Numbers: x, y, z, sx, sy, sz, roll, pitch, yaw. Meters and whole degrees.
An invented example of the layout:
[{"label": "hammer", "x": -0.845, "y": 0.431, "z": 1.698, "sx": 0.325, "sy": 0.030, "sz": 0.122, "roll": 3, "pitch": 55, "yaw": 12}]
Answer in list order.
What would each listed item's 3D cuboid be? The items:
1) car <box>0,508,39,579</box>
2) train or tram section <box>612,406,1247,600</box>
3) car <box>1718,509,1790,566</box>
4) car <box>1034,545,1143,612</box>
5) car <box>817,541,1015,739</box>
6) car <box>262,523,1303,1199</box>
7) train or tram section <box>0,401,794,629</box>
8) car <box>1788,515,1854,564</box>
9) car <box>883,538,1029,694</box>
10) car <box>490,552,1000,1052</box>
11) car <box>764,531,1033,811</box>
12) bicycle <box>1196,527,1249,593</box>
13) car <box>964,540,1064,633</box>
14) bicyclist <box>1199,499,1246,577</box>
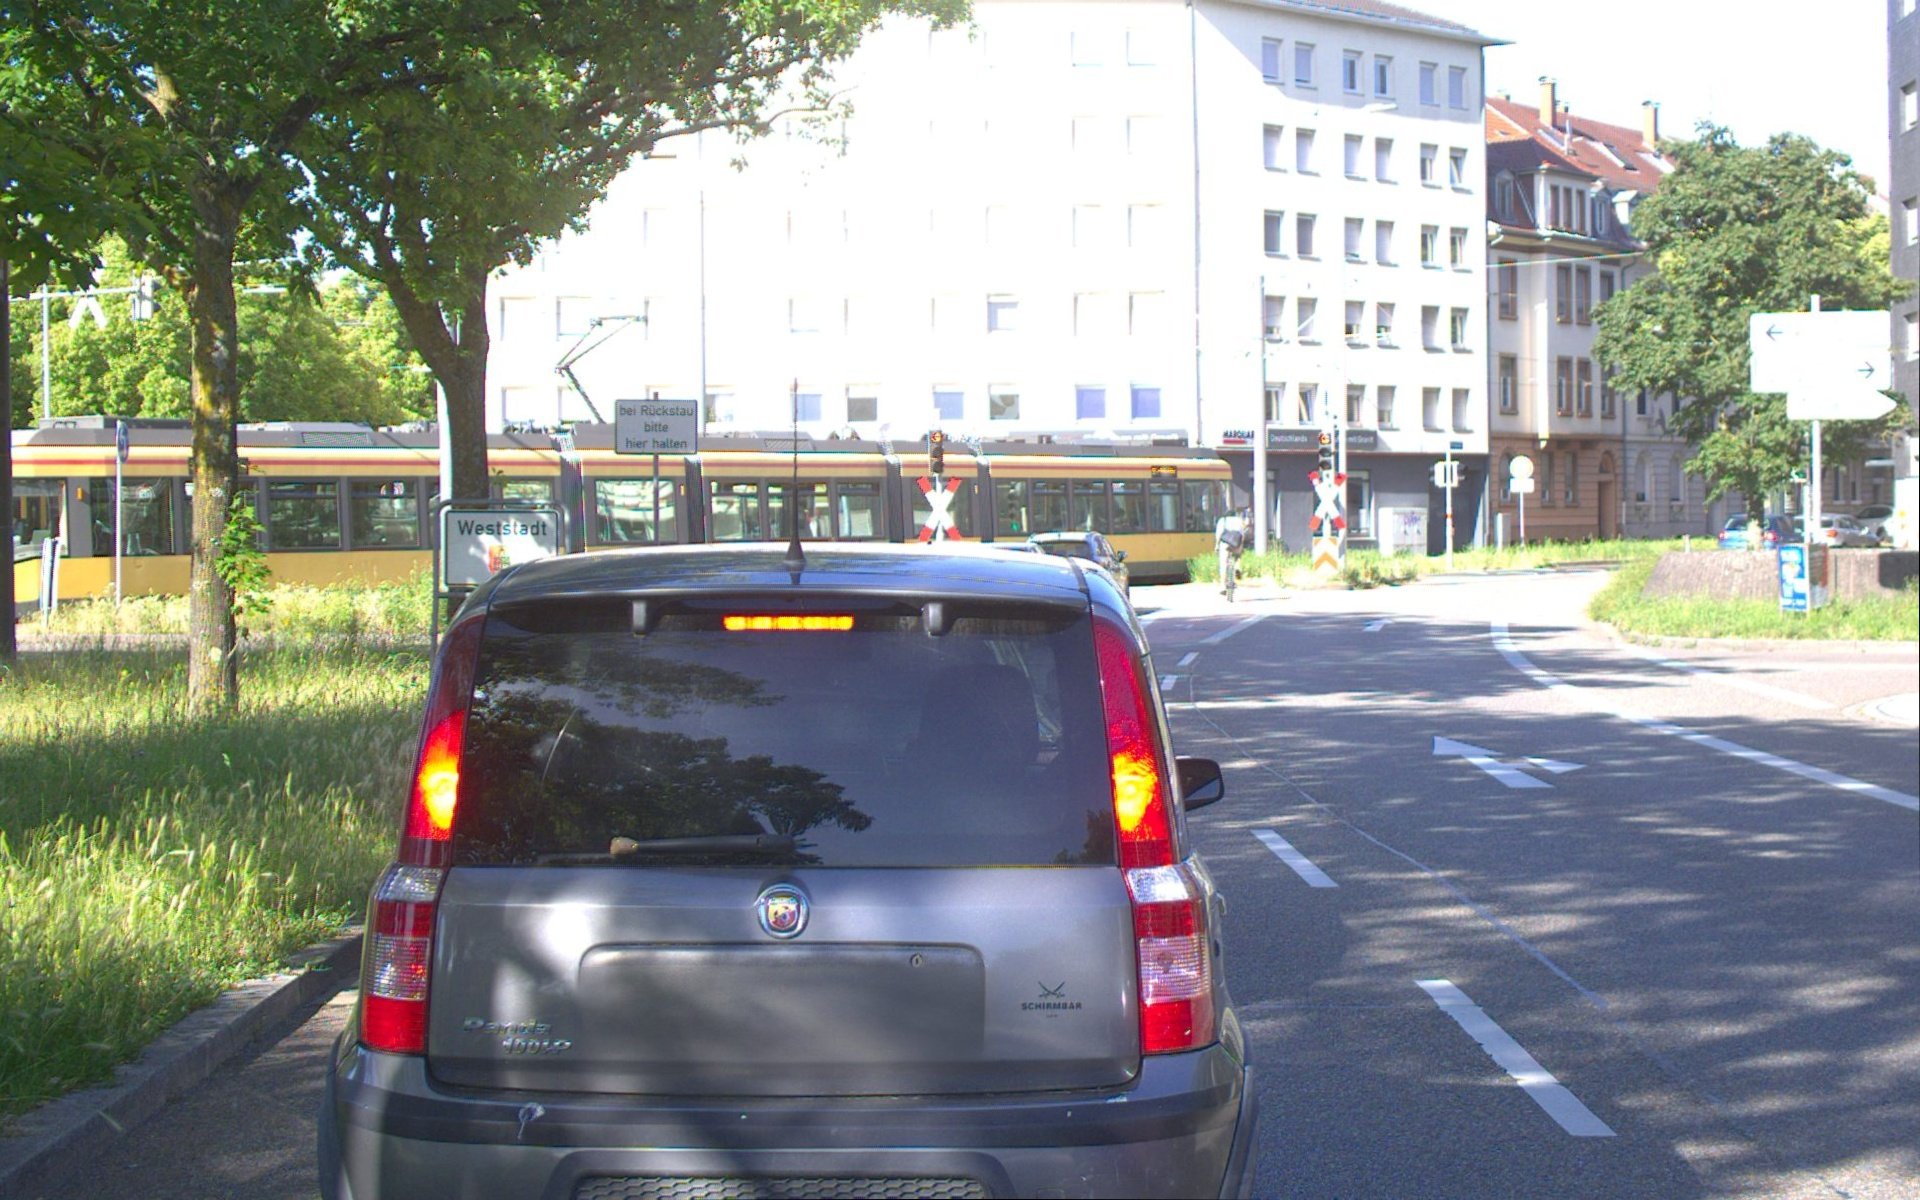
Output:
[{"label": "car", "x": -28.577, "y": -1.597, "z": 97.974, "sx": 4.176, "sy": 2.007, "sz": 1.932, "roll": -1, "pitch": 1, "yaw": -2}, {"label": "train or tram section", "x": 0.054, "y": -2.145, "z": 76.186, "sx": 3.301, "sy": 3.757, "sz": 20.772, "roll": 0, "pitch": 2, "yaw": 32}, {"label": "car", "x": 20.885, "y": -1.661, "z": 90.393, "sx": 1.683, "sy": 1.444, "sz": 3.569, "roll": 0, "pitch": 1, "yaw": 15}, {"label": "car", "x": 2.174, "y": -0.370, "z": 57.673, "sx": 1.143, "sy": 1.060, "sz": 2.719, "roll": 0, "pitch": 1, "yaw": 17}, {"label": "car", "x": -0.344, "y": 0.268, "z": 27.289, "sx": 1.463, "sy": 1.420, "sz": 3.381, "roll": 0, "pitch": 2, "yaw": -1}, {"label": "car", "x": -0.297, "y": 0.599, "z": 7.422, "sx": 1.628, "sy": 1.503, "sz": 4.000, "roll": -1, "pitch": 1, "yaw": -1}, {"label": "train or tram section", "x": -10.472, "y": -1.551, "z": 61.232, "sx": 3.303, "sy": 3.501, "sz": 19.343, "roll": 0, "pitch": 2, "yaw": 37}, {"label": "car", "x": 23.561, "y": -1.666, "z": 94.020, "sx": 1.528, "sy": 1.310, "sz": 3.285, "roll": 0, "pitch": 1, "yaw": 18}, {"label": "car", "x": -0.058, "y": 0.123, "z": 33.866, "sx": 1.356, "sy": 1.444, "sz": 3.266, "roll": -1, "pitch": 1, "yaw": -1}, {"label": "car", "x": -0.640, "y": 0.561, "z": 11.643, "sx": 1.463, "sy": 1.396, "sz": 3.393, "roll": 0, "pitch": 1, "yaw": -1}, {"label": "car", "x": -0.358, "y": 0.357, "z": 20.683, "sx": 1.463, "sy": 1.503, "sz": 3.505, "roll": 0, "pitch": 2, "yaw": -1}, {"label": "bicycle", "x": 4.867, "y": -0.734, "z": 63.876, "sx": 0.708, "sy": 1.194, "sz": 2.520, "roll": 1, "pitch": 1, "yaw": -2}, {"label": "car", "x": 0.752, "y": -0.211, "z": 49.599, "sx": 1.356, "sy": 1.277, "sz": 2.876, "roll": 0, "pitch": 1, "yaw": -1}, {"label": "bicyclist", "x": 4.861, "y": -1.145, "z": 63.716, "sx": 0.741, "sy": 1.433, "sz": 0.845, "roll": 1, "pitch": 0, "yaw": -2}]
